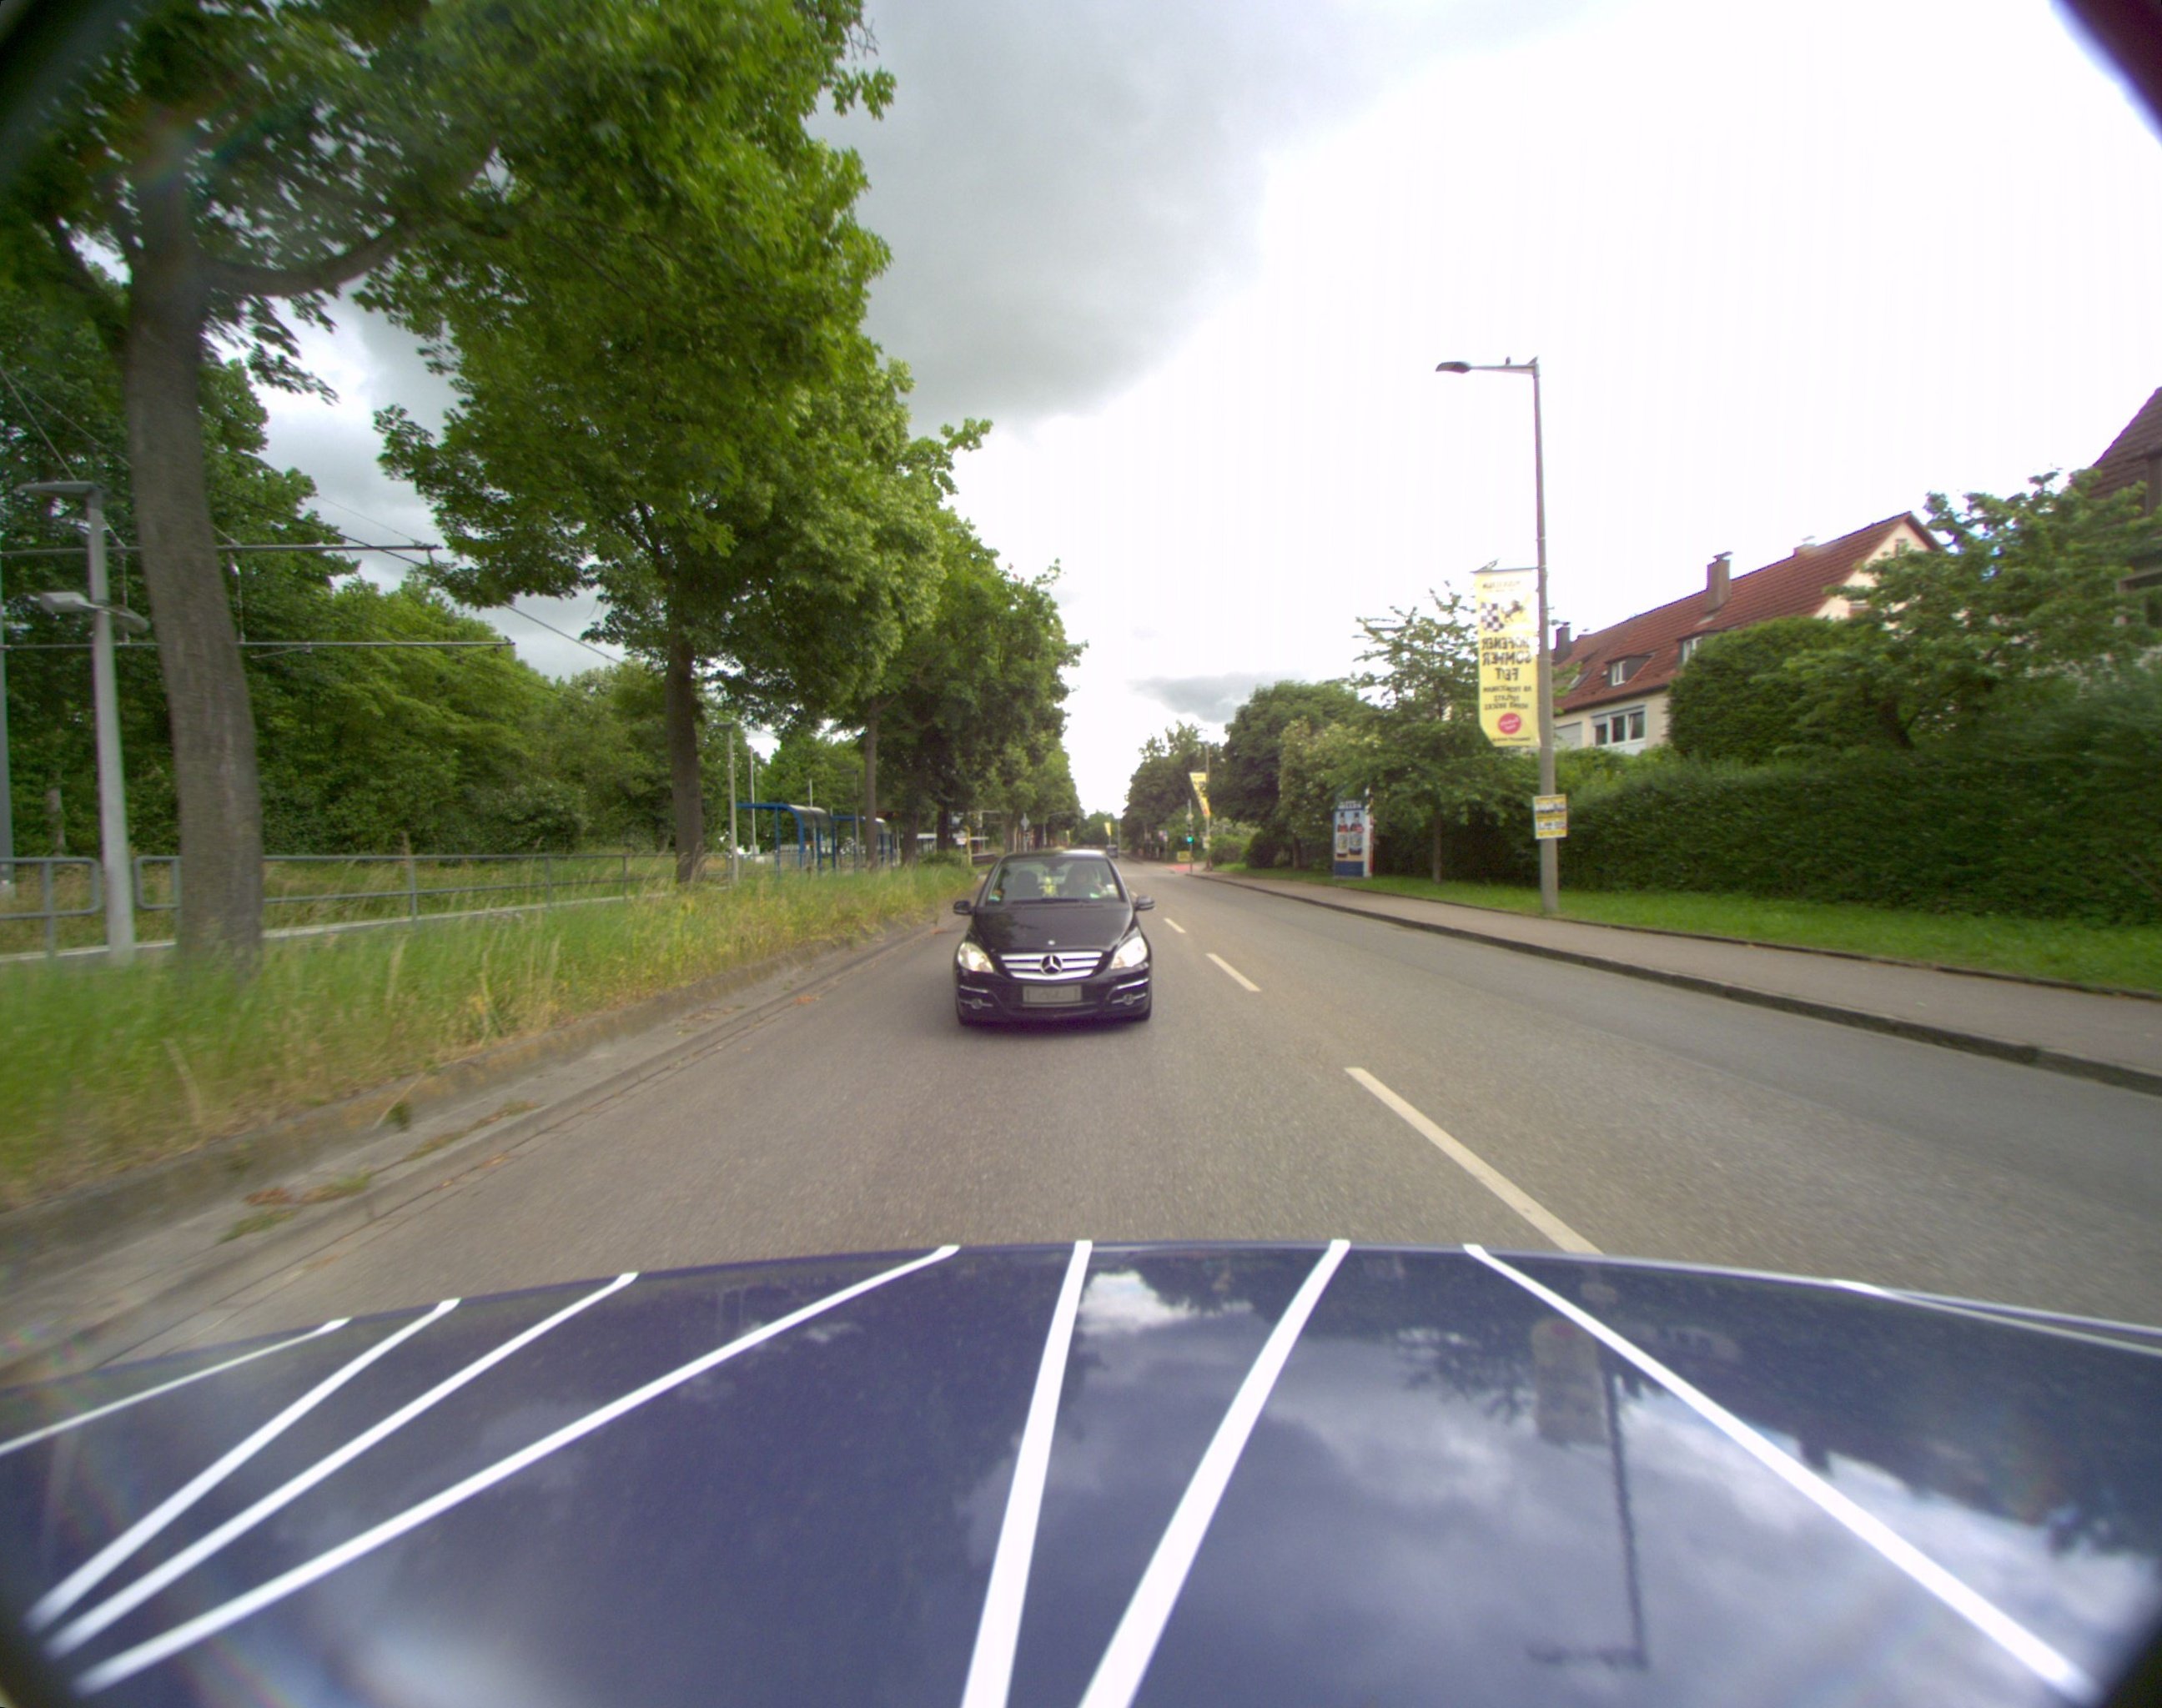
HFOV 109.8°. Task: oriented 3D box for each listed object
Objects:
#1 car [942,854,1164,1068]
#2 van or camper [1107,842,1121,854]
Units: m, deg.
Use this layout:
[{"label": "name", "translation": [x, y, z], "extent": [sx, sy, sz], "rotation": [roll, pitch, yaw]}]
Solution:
[{"label": "car", "translation": [-0.230, 0.840, 8.200], "extent": [1.683, 1.565, 4.482], "rotation": [-2, 1, 0]}, {"label": "van or camper", "translation": [5.325, -0.993, 122.704], "extent": [1.918, 1.888, 4.811], "rotation": [-1, 1, 0]}]
